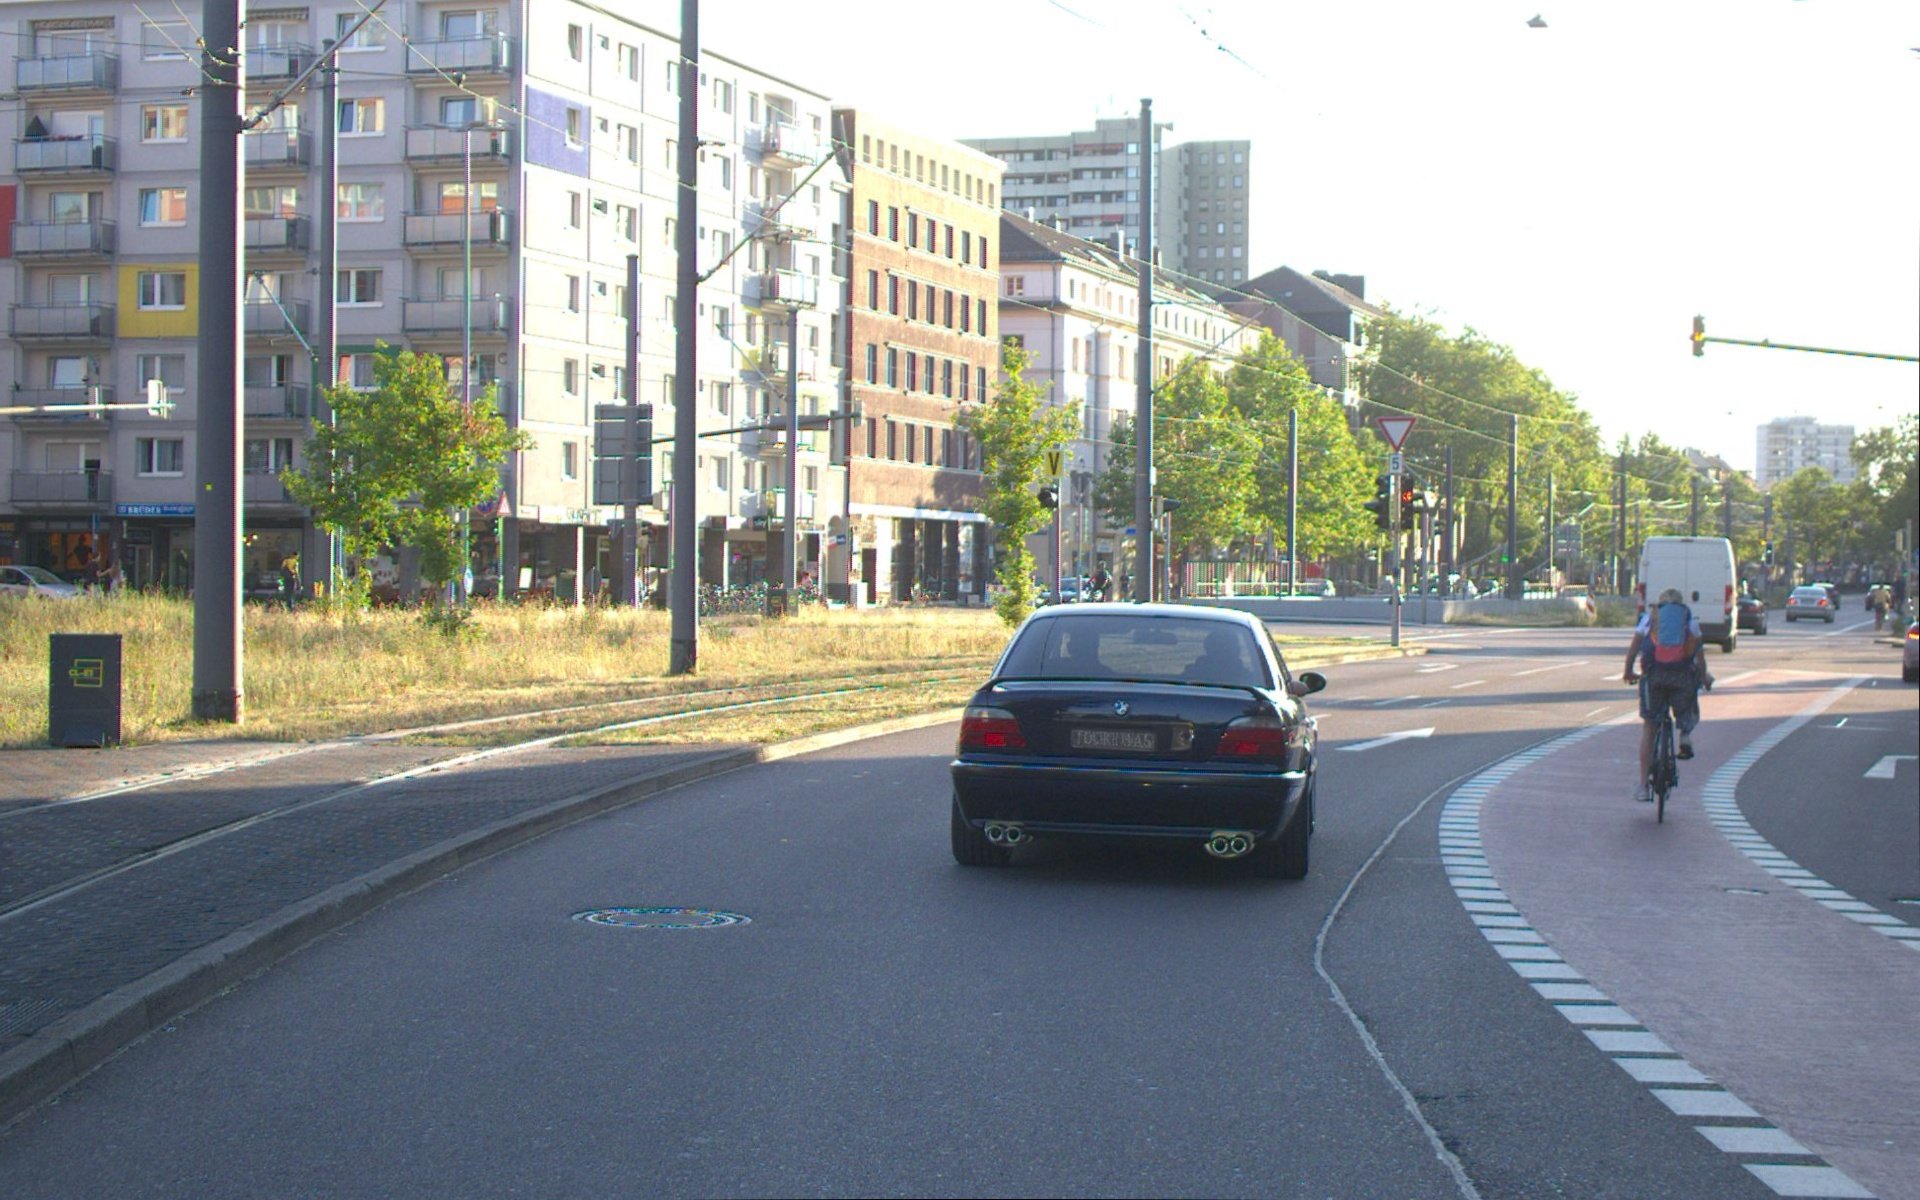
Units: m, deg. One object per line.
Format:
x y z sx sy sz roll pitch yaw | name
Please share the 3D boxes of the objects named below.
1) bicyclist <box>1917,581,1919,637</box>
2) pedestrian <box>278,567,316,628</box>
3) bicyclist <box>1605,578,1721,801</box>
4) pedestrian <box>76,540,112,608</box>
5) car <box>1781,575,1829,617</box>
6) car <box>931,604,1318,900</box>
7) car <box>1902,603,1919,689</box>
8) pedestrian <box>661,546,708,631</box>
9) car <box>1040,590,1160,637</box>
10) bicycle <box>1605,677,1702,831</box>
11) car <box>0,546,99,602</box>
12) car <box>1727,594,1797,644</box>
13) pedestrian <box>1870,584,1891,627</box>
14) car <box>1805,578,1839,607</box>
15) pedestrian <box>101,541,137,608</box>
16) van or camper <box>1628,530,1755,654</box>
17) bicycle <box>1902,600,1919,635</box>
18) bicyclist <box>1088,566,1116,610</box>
27.420 0.251 97.011 0.798 1.566 0.663 1 1 15 | bicyclist
-18.373 -0.079 95.268 0.739 1.664 0.782 1 1 18 | pedestrian
4.878 0.602 23.819 0.655 1.478 1.037 3 1 15 | bicyclist
-23.904 -0.723 94.900 0.705 1.845 0.736 1 1 18 | pedestrian
33.889 -0.162 137.943 1.795 1.560 3.998 1 1 13 | car
1.033 0.736 18.996 1.830 1.349 4.640 2 0 6 | car
17.111 0.791 58.828 1.785 1.349 4.263 2 1 16 | car
-5.750 -0.244 71.813 0.721 1.756 0.649 1 2 39 | pedestrian
4.855 0.449 118.983 3.988 1.429 1.718 2 2 6 | car
4.842 1.052 23.945 0.515 0.951 1.774 3 1 15 | bicycle
-27.587 -0.786 101.345 3.867 1.579 1.803 1 1 12 | car
24.478 0.563 104.892 1.739 1.381 3.997 1 2 18 | car
32.160 0.187 120.092 0.617 1.470 0.799 1 1 22 | pedestrian
48.915 -0.452 195.145 1.795 1.560 3.998 1 1 13 | car
-23.123 -0.704 94.549 0.603 1.841 0.821 1 1 18 | pedestrian
16.095 -0.218 75.472 2.265 2.616 4.499 1 2 18 | van or camper
27.497 0.515 96.994 1.730 0.966 0.609 2 2 16 | bicycle
4.840 -0.415 117.250 0.853 1.437 0.663 3 2 6 | bicyclist
